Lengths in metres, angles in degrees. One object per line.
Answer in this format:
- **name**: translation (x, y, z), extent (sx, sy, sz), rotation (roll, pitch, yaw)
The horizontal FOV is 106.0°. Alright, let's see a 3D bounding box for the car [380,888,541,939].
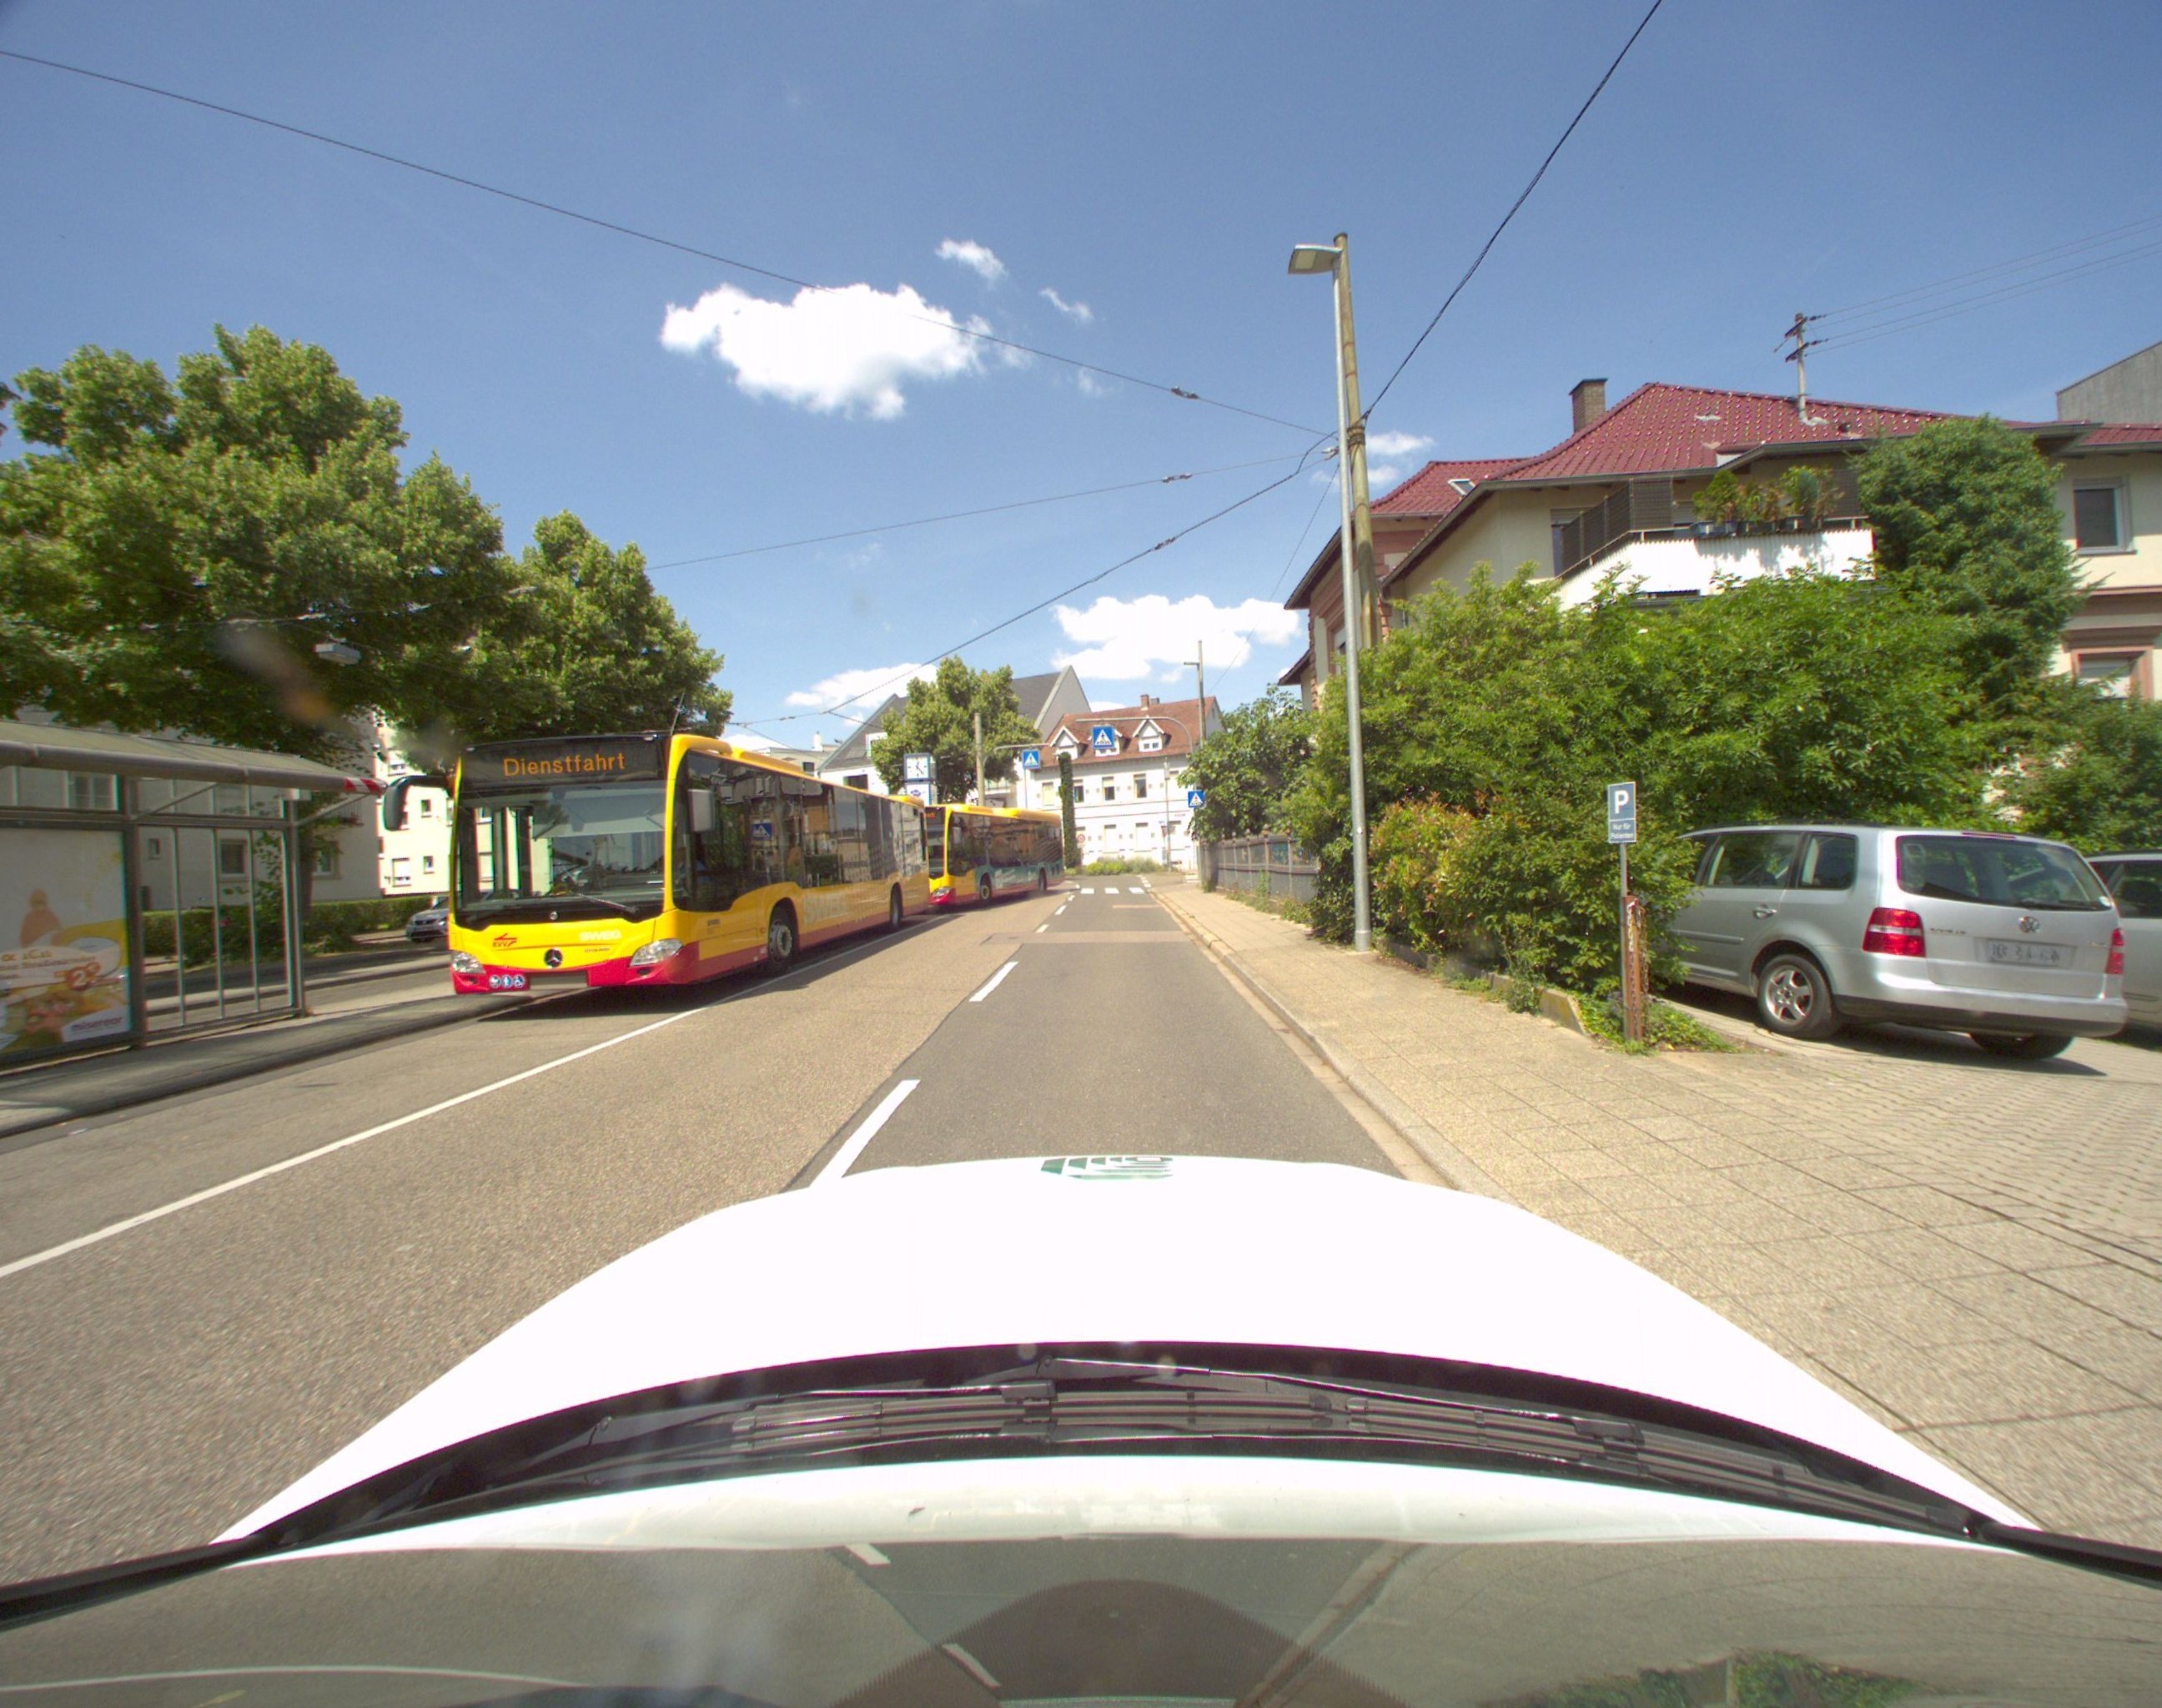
- **car**: translation (-18.131, 1.693, 24.068), extent (1.709, 1.319, 3.997), rotation (-1, -2, -1)

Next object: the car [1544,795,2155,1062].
- **car**: translation (6.106, 0.527, 7.262), extent (1.754, 1.628, 4.001), rotation (3, -1, 2)

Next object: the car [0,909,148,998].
- **car**: translation (-18.395, 1.666, 13.047), extent (1.687, 1.357, 4.402), rotation (-1, -2, 2)

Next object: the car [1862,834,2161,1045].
- **car**: translation (9.488, 0.735, 7.077), extent (1.752, 1.668, 4.004), rotation (3, -1, 5)

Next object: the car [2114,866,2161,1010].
- **car**: translation (12.346, 0.896, 7.115), extent (1.752, 1.538, 4.004), rotation (3, -1, 5)

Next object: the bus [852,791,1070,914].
- **bus**: translation (-3.300, -0.111, 27.556), extent (2.760, 3.208, 12.353), rotation (-1, 1, 14)

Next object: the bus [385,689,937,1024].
- **bus**: translation (-5.196, 0.086, 14.046), extent (2.896, 3.248, 12.122), rotation (-1, -1, 2)
